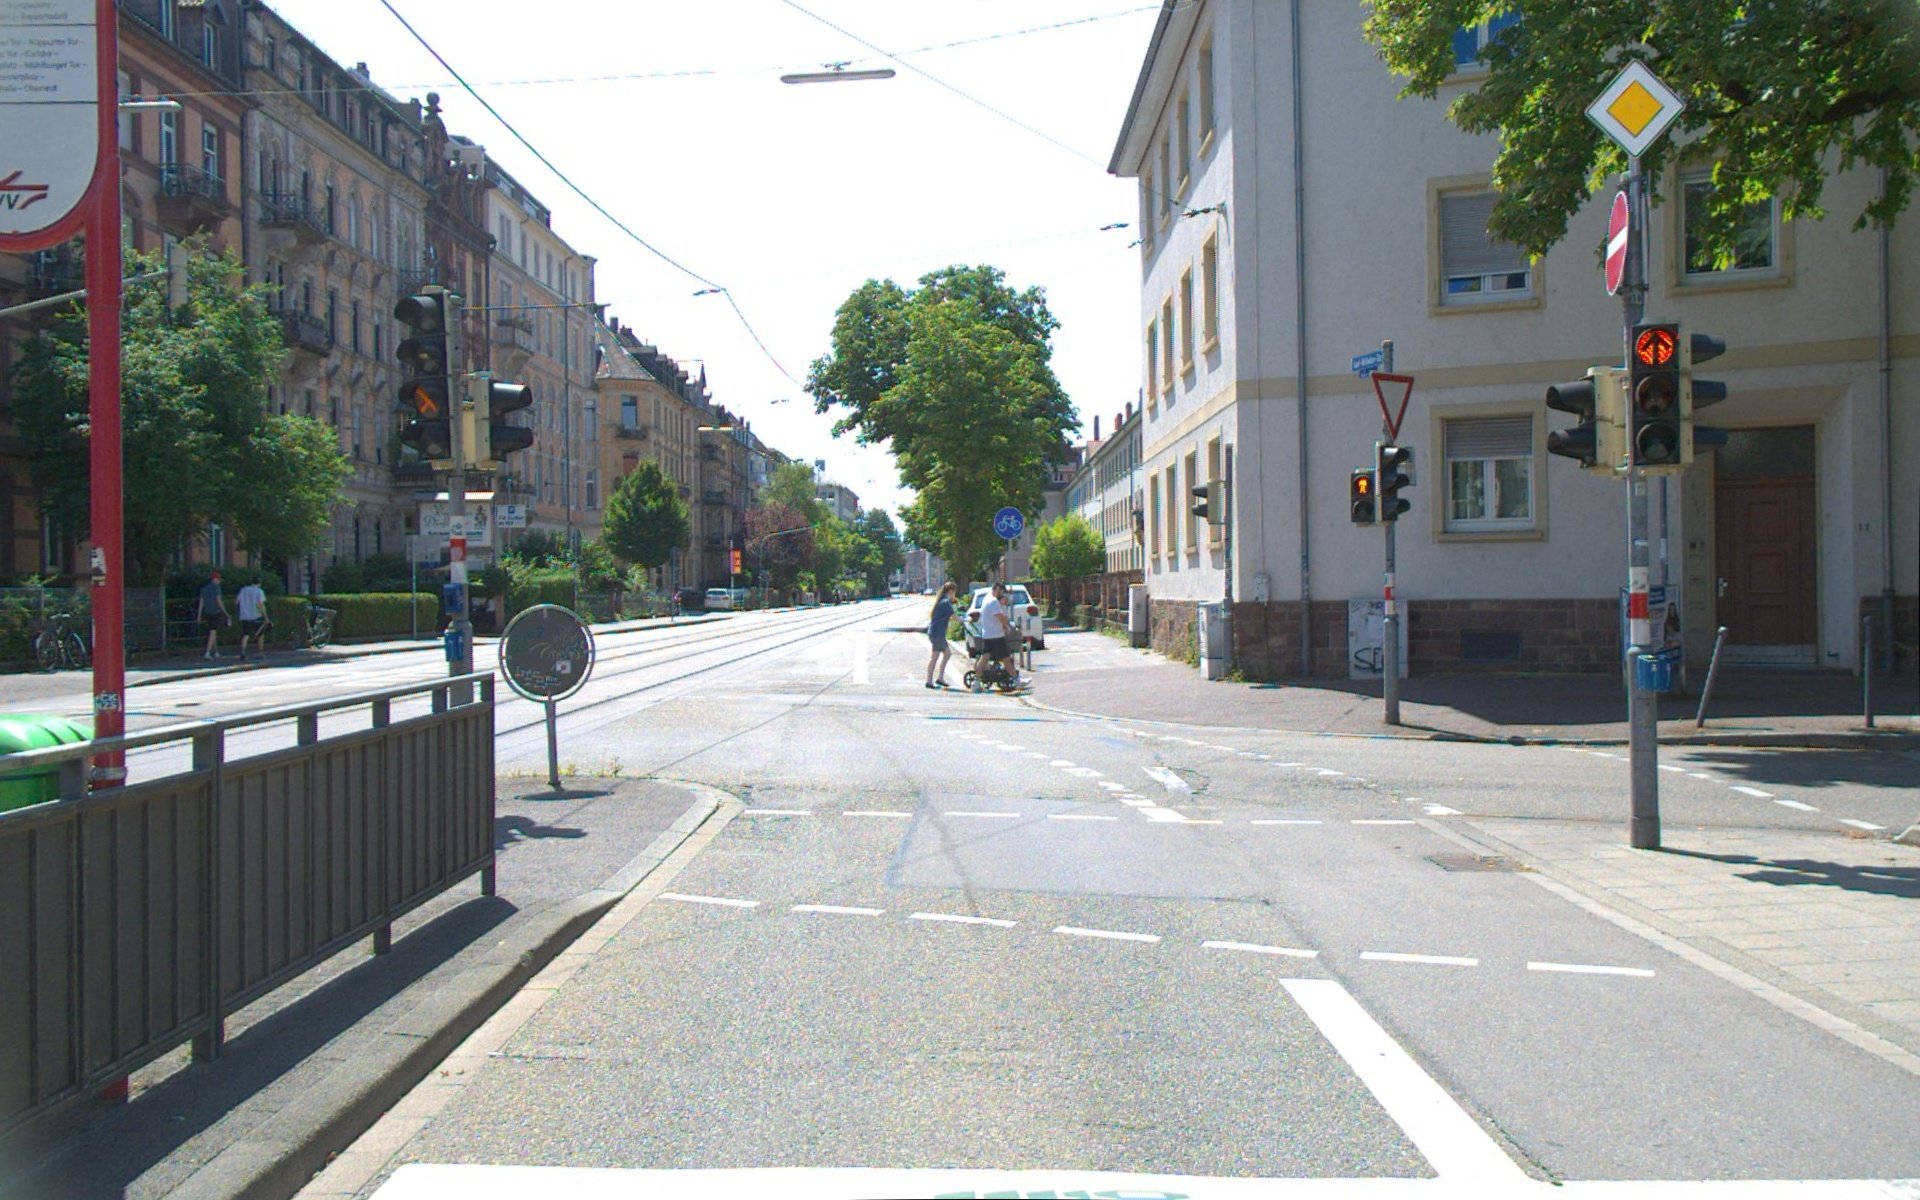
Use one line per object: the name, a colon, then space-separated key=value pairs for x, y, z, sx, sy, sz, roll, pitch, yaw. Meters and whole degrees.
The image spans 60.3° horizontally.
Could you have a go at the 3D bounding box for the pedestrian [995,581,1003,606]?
pedestrian: x=2.579 y=-0.427 z=109.587 sx=0.511 sy=1.590 sz=0.573 roll=-1 pitch=0 yaw=-1

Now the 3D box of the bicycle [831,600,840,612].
bicycle: x=-12.087 y=0.612 z=160.596 sx=0.712 sy=1.142 sz=2.085 roll=1 pitch=0 yaw=1

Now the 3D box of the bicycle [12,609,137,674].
bicycle: x=-16.712 y=0.759 z=31.307 sx=0.918 sy=1.156 sz=2.773 roll=1 pitch=0 yaw=-2

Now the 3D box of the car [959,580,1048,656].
car: x=0.928 y=0.397 z=37.338 sx=1.778 sy=1.542 sz=3.999 roll=-3 pitch=0 yaw=-1

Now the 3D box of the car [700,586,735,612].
car: x=-16.873 y=-0.055 z=115.315 sx=1.880 sy=1.745 sz=3.999 roll=1 pitch=0 yaw=-1

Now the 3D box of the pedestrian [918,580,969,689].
pedestrian: x=-0.259 y=0.542 z=25.865 sx=0.664 sy=1.674 sz=0.556 roll=1 pitch=-1 yaw=-16

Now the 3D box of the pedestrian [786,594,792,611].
pedestrian: x=-15.020 y=0.186 z=145.288 sx=0.398 sy=1.486 sz=0.436 roll=-1 pitch=0 yaw=-1

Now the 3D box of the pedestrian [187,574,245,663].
pedestrian: x=-15.849 y=0.374 z=35.246 sx=0.799 sy=1.854 sz=0.874 roll=1 pitch=1 yaw=2

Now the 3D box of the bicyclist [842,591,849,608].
bicyclist: x=-12.513 y=-0.017 z=180.872 sx=0.712 sy=1.850 sz=1.079 roll=1 pitch=0 yaw=1

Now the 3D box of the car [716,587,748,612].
car: x=-17.041 y=-0.024 z=123.576 sx=1.880 sy=1.745 sz=3.999 roll=1 pitch=0 yaw=-1

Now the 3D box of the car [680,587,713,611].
car: x=-19.672 y=-0.069 z=123.610 sx=1.880 sy=1.745 sz=3.999 roll=1 pitch=0 yaw=-1

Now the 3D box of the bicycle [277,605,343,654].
bicycle: x=-15.888 y=0.699 z=40.517 sx=0.920 sy=1.156 sz=2.767 roll=1 pitch=0 yaw=-9

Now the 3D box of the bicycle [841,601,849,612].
bicycle: x=-12.539 y=0.690 z=180.882 sx=0.712 sy=1.142 sz=2.085 roll=1 pitch=0 yaw=1

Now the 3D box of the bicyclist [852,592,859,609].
bicyclist: x=-11.406 y=0.019 z=180.665 sx=0.712 sy=1.850 sz=1.079 roll=1 pitch=0 yaw=1

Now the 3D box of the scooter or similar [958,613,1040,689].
scooter or similar: x=0.611 y=0.801 z=26.124 sx=1.182 sy=1.175 sz=0.556 roll=1 pitch=-1 yaw=-16

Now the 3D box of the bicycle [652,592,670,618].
bicycle: x=-15.274 y=0.249 z=84.438 sx=0.664 sy=1.301 sz=1.917 roll=-1 pitch=0 yaw=-4

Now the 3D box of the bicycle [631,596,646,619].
bicycle: x=-15.497 y=0.335 z=79.790 sx=0.665 sy=1.083 sz=1.913 roll=-1 pitch=0 yaw=-12

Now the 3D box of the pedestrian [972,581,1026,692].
pedestrian: x=0.594 y=0.554 z=25.352 sx=0.664 sy=1.674 sz=0.556 roll=1 pitch=-1 yaw=-16

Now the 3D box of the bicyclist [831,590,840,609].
bicyclist: x=-12.080 y=-0.064 z=160.605 sx=0.712 sy=1.799 sz=1.079 roll=1 pitch=0 yaw=1

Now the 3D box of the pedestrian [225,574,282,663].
pedestrian: x=-15.082 y=0.382 z=35.322 sx=0.799 sy=1.854 sz=0.874 roll=1 pitch=1 yaw=2
